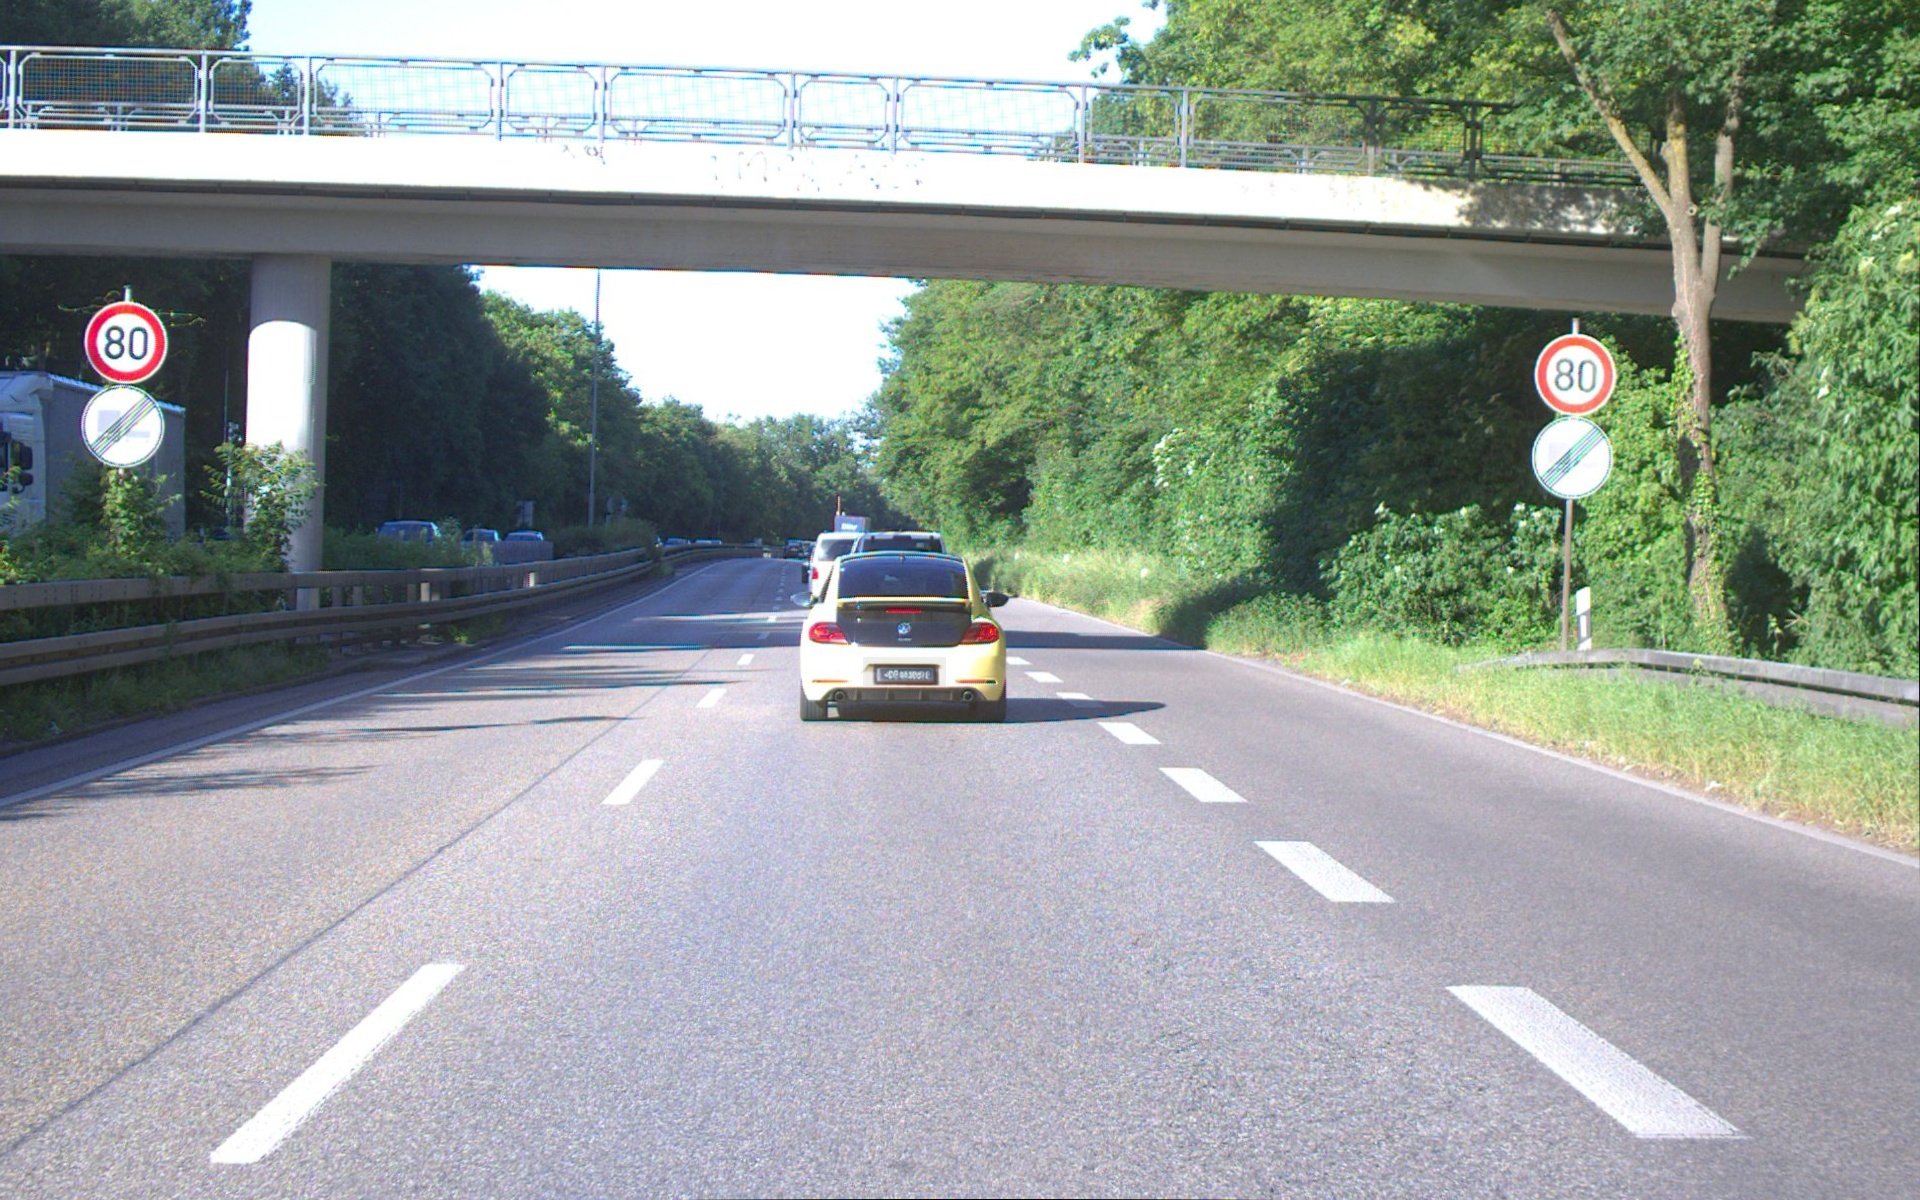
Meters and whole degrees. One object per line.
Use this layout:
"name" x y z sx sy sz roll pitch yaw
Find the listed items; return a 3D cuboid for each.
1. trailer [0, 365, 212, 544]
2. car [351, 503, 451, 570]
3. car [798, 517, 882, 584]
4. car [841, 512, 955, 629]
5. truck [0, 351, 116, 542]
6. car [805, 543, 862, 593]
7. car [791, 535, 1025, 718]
"trailer" -17.431 -2.723 67.998 2.929 3.157 11.917 1 1 -1
"car" -14.716 -1.679 90.710 1.993 1.681 4.741 1 1 -2
"car" -2.844 -1.168 81.408 1.939 1.539 3.423 1 1 -2
"car" -1.077 -0.507 58.206 1.741 1.823 3.423 3 1 -3
"truck" -17.279 -2.639 61.141 2.929 3.157 7.084 1 1 -1
"car" -4.542 -1.146 123.219 1.993 1.744 4.373 1 1 -2
"car" -0.403 0.204 30.472 1.939 1.503 3.422 1 1 1
